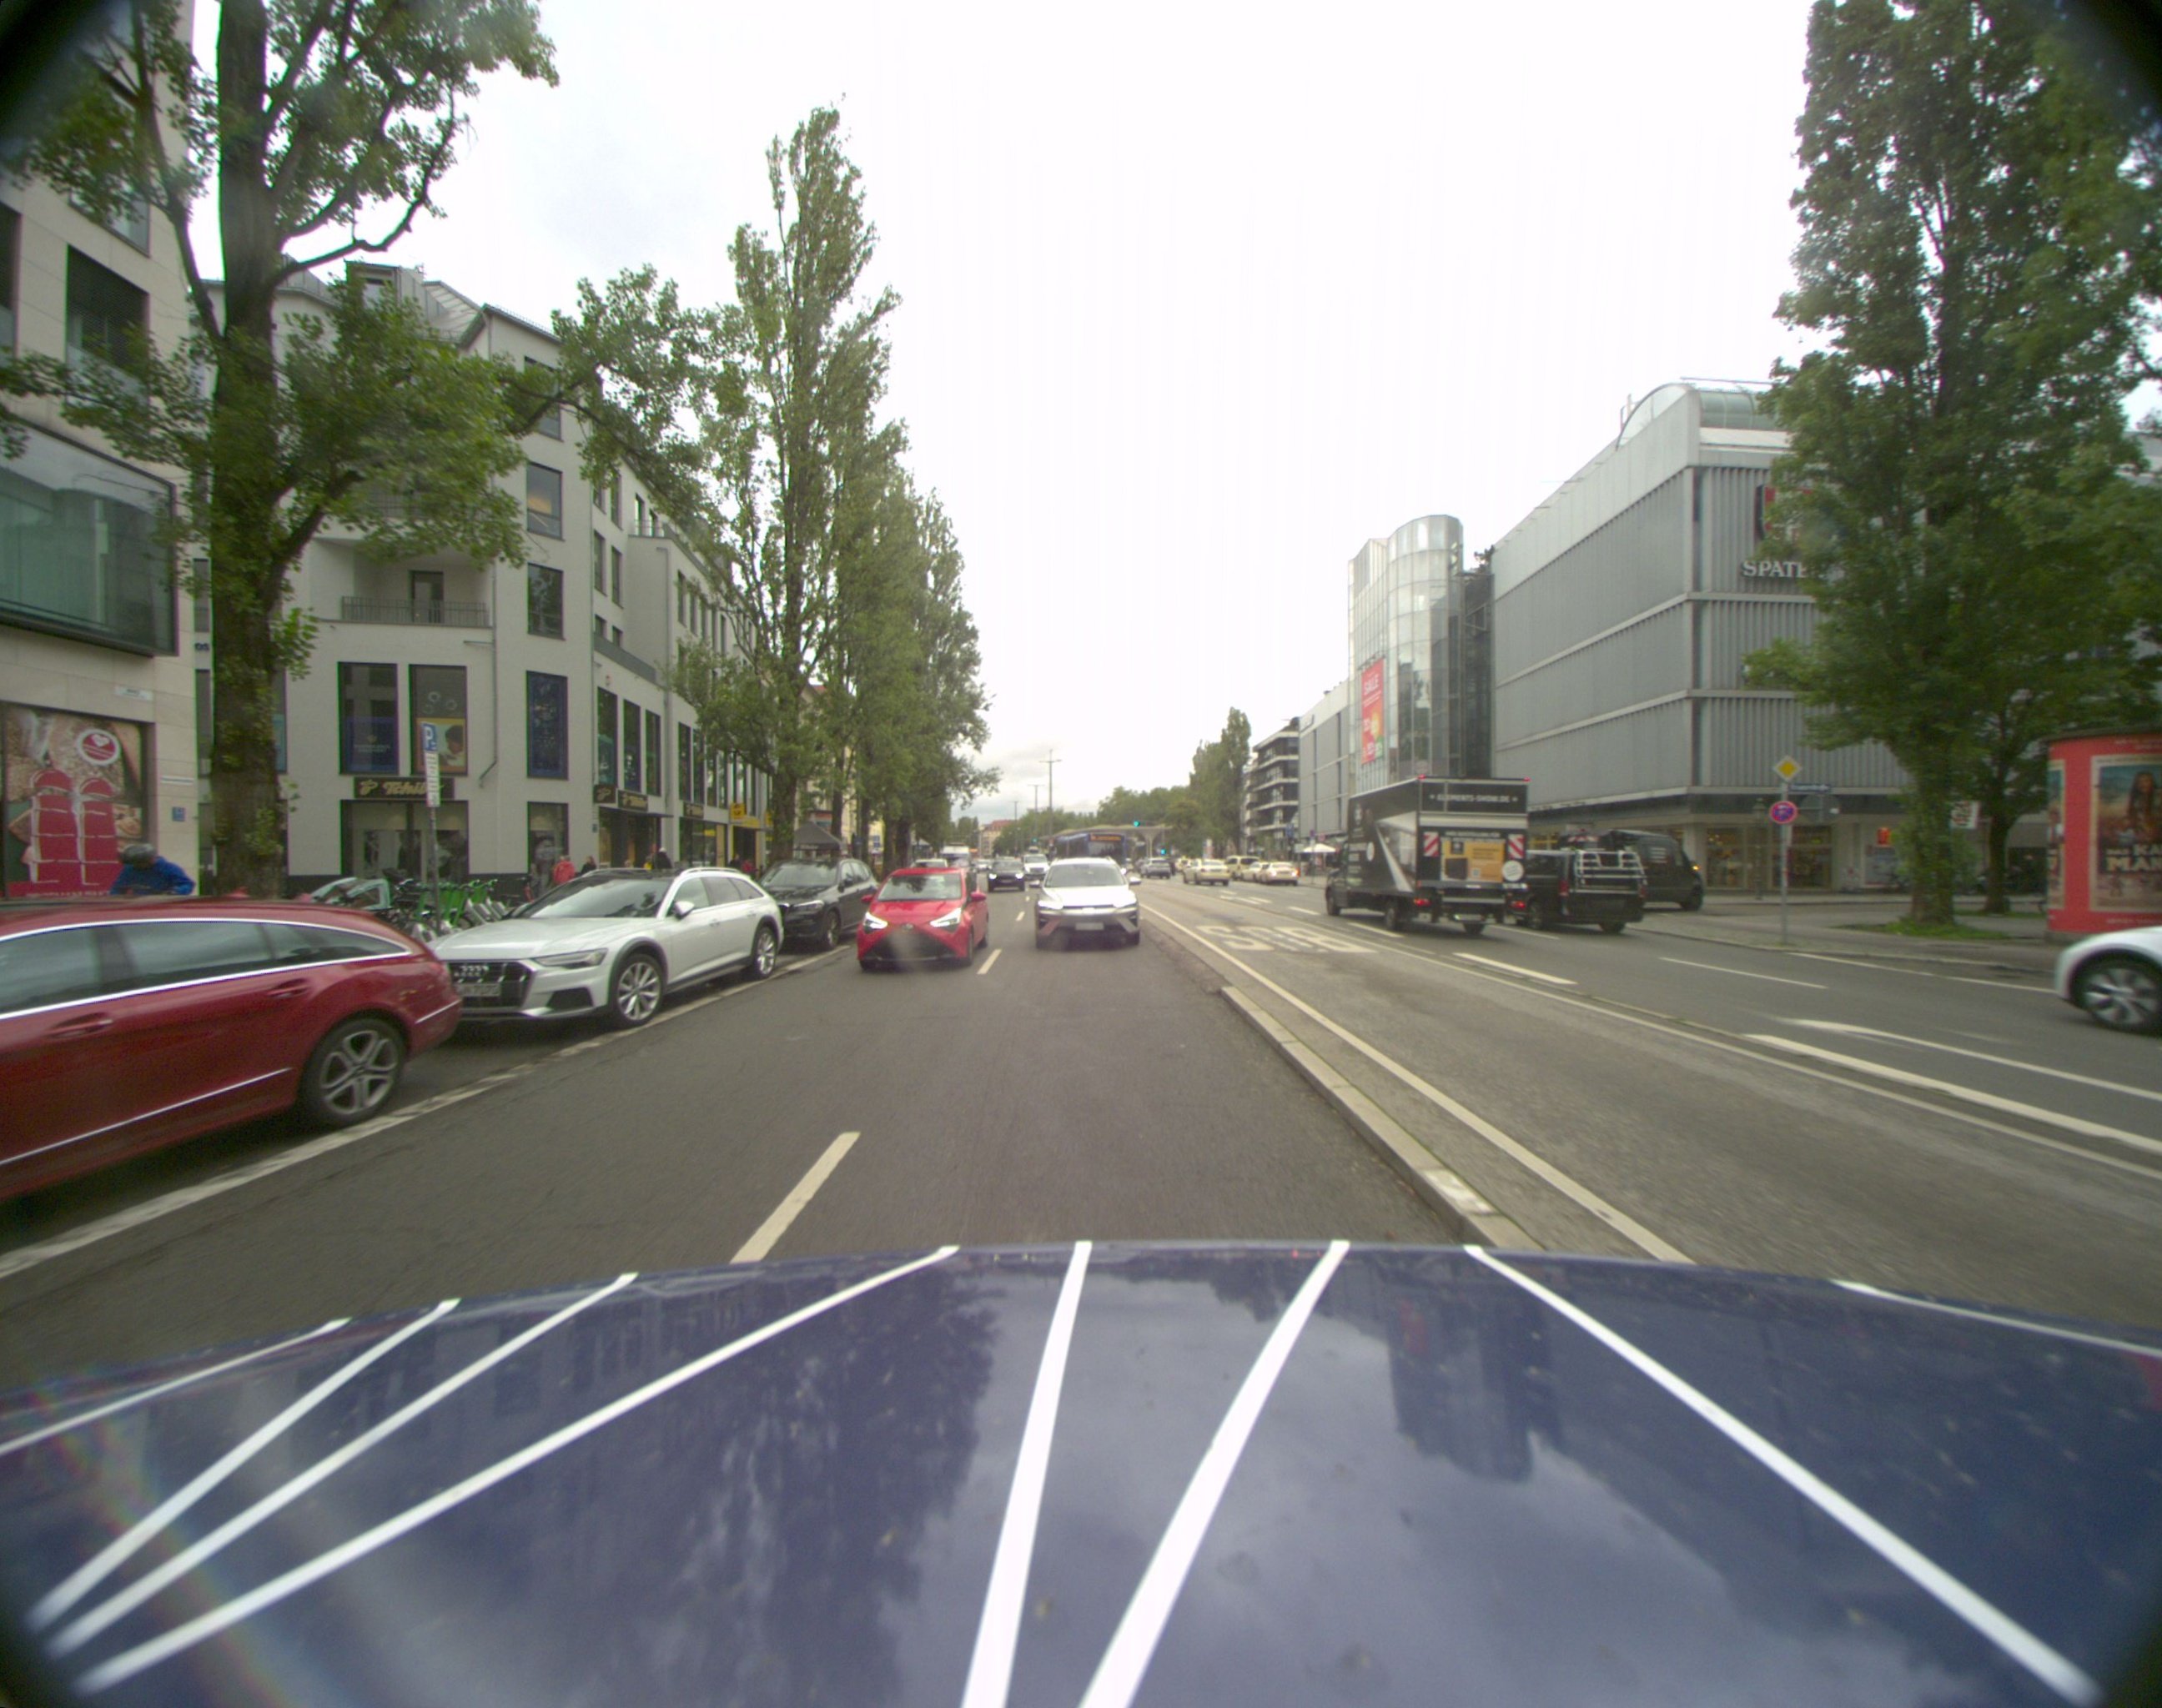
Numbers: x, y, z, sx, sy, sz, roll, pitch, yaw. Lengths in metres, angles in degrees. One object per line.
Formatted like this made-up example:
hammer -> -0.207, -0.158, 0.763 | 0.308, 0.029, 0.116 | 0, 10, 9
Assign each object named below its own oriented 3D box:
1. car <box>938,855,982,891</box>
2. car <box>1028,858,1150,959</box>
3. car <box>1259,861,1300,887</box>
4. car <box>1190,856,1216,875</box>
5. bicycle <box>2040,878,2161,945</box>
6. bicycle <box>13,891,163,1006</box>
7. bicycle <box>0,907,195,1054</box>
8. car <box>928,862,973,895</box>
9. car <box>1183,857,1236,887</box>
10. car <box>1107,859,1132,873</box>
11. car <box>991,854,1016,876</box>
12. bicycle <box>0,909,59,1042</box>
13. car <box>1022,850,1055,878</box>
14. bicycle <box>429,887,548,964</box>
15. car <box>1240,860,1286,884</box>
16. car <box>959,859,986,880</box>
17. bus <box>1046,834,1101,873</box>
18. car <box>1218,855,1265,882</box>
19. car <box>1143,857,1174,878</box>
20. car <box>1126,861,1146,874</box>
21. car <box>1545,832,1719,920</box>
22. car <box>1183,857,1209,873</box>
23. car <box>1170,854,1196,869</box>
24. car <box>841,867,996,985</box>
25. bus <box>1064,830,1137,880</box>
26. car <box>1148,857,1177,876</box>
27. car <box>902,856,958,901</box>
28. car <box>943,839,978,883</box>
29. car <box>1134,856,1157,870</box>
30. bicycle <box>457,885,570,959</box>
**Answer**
car -> -6.653, 0.998, 42.247 | 1.934, 1.794, 4.777 | -2, 0, -4
car -> -0.002, 0.887, 14.165 | 1.897, 1.483, 3.998 | -2, 1, -4
car -> 12.357, 1.218, 47.648 | 1.860, 1.461, 4.985 | 2, 0, 7
car -> 11.334, 1.016, 70.830 | 1.890, 1.688, 4.383 | 1, 0, 2
bicycle -> 22.258, 1.200, 16.111 | 0.849, 1.300, 2.303 | 0, 0, -3
bicycle -> -11.174, 1.028, 8.547 | 1.764, 1.165, 0.452 | 0, 0, 18
bicycle -> -9.153, 1.072, 6.812 | 0.644, 1.057, 1.769 | 0, 0, -13
car -> -6.287, 1.147, 36.963 | 1.776, 1.425, 4.568 | -2, 0, -6
car -> 7.539, 1.025, 45.153 | 1.999, 1.579, 5.194 | 1, 0, -3
car -> 4.059, 1.260, 80.285 | 1.805, 1.386, 4.687 | 0, 0, -7
car -> -6.781, 0.910, 66.106 | 2.000, 1.740, 3.996 | -2, 1, -8
bicycle -> -10.368, 1.133, 6.777 | 0.546, 1.182, 1.458 | 0, 0, 33
car -> -3.111, 0.677, 54.852 | 2.000, 1.889, 4.232 | -2, 1, -8
bicycle -> -9.651, 1.147, 12.403 | 1.483, 1.200, 0.535 | 0, 0, -4
car -> 12.775, 1.222, 53.635 | 1.983, 1.543, 5.085 | 0, 0, -1
car -> -8.387, 1.180, 59.057 | 1.730, 1.445, 4.145 | -3, 0, -4
bus -> -0.785, -0.085, 63.397 | 2.944, 2.927, 11.203 | -1, 1, -9
car -> 12.431, 1.066, 59.200 | 2.000, 2.002, 5.318 | 1, 0, -6
car -> 6.158, 1.050, 60.732 | 1.915, 1.593, 4.354 | 0, 0, -2
car -> 6.625, 1.597, 91.347 | 1.958, 1.580, 3.999 | 0, 0, -2
car -> 18.022, 0.652, 24.763 | 6.073, 2.590, 2.172 | 0, 0, -29
car -> 11.564, 1.083, 76.403 | 1.951, 1.531, 4.848 | 0, 0, 1
car -> 11.133, 0.840, 83.249 | 1.592, 1.602, 4.473 | 0, 0, -9
car -> -2.415, 1.013, 12.153 | 1.669, 1.438, 3.595 | -2, 1, 0
bus -> 1.047, 0.006, 51.569 | 2.944, 2.927, 11.203 | -1, 1, -9
car -> 7.776, 1.180, 72.717 | 2.024, 1.706, 4.981 | 0, 0, -2
car -> -6.115, 0.937, 31.122 | 1.732, 1.676, 4.406 | -1, 0, -5
car -> -8.005, 0.389, 50.759 | 2.000, 2.726, 5.550 | -2, 1, -7
car -> 6.915, 0.972, 81.951 | 1.789, 1.457, 3.998 | 0, 0, -5
bicycle -> -9.652, 1.144, 12.959 | 1.483, 1.200, 0.535 | 0, 0, -4
